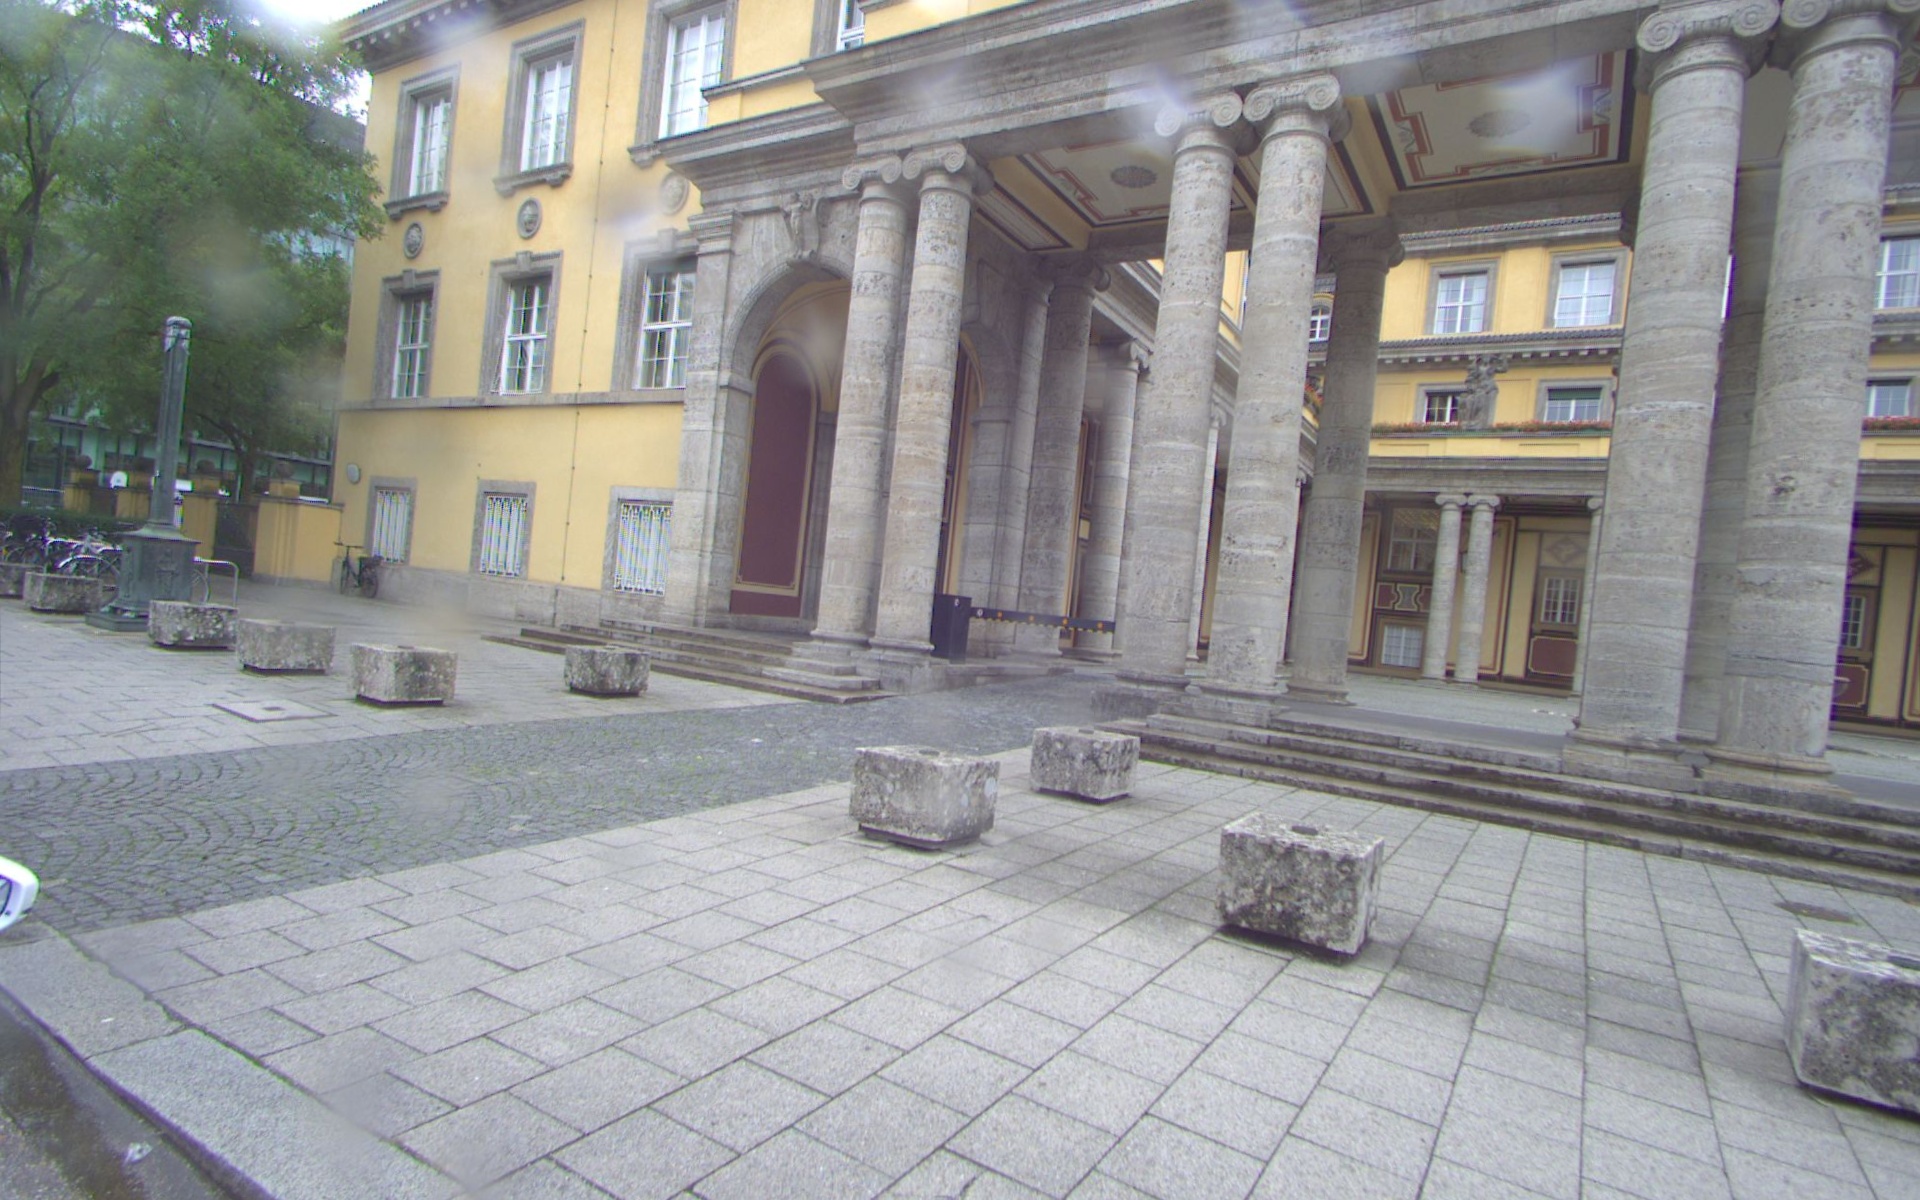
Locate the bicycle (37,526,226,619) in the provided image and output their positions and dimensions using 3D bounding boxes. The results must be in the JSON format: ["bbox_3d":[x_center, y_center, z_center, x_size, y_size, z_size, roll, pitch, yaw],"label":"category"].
[{"bbox_3d":[-11.361,-0.345,13.881,0.463,1.128,1.933,6,1,29],"label":"bicycle"}]

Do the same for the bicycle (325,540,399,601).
[{"bbox_3d":[-13.320,-0.663,22.390,1.870,1.169,0.542,7,2,31],"label":"bicycle"}]

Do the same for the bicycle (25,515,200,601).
[{"bbox_3d":[-12.796,-0.606,15.261,0.464,1.128,1.931,7,1,34],"label":"bicycle"}]

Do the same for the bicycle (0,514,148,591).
[{"bbox_3d":[-15.152,-0.783,17.152,0.464,1.128,1.931,7,1,33],"label":"bicycle"}]

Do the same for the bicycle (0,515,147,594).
[{"bbox_3d":[-14.642,-0.723,16.507,0.464,1.128,1.931,7,1,34],"label":"bicycle"}]

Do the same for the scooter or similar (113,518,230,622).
[{"bbox_3d":[-10.299,-0.383,13.166,0.996,1.238,0.536,5,2,-13],"label":"scooter or similar"}]
